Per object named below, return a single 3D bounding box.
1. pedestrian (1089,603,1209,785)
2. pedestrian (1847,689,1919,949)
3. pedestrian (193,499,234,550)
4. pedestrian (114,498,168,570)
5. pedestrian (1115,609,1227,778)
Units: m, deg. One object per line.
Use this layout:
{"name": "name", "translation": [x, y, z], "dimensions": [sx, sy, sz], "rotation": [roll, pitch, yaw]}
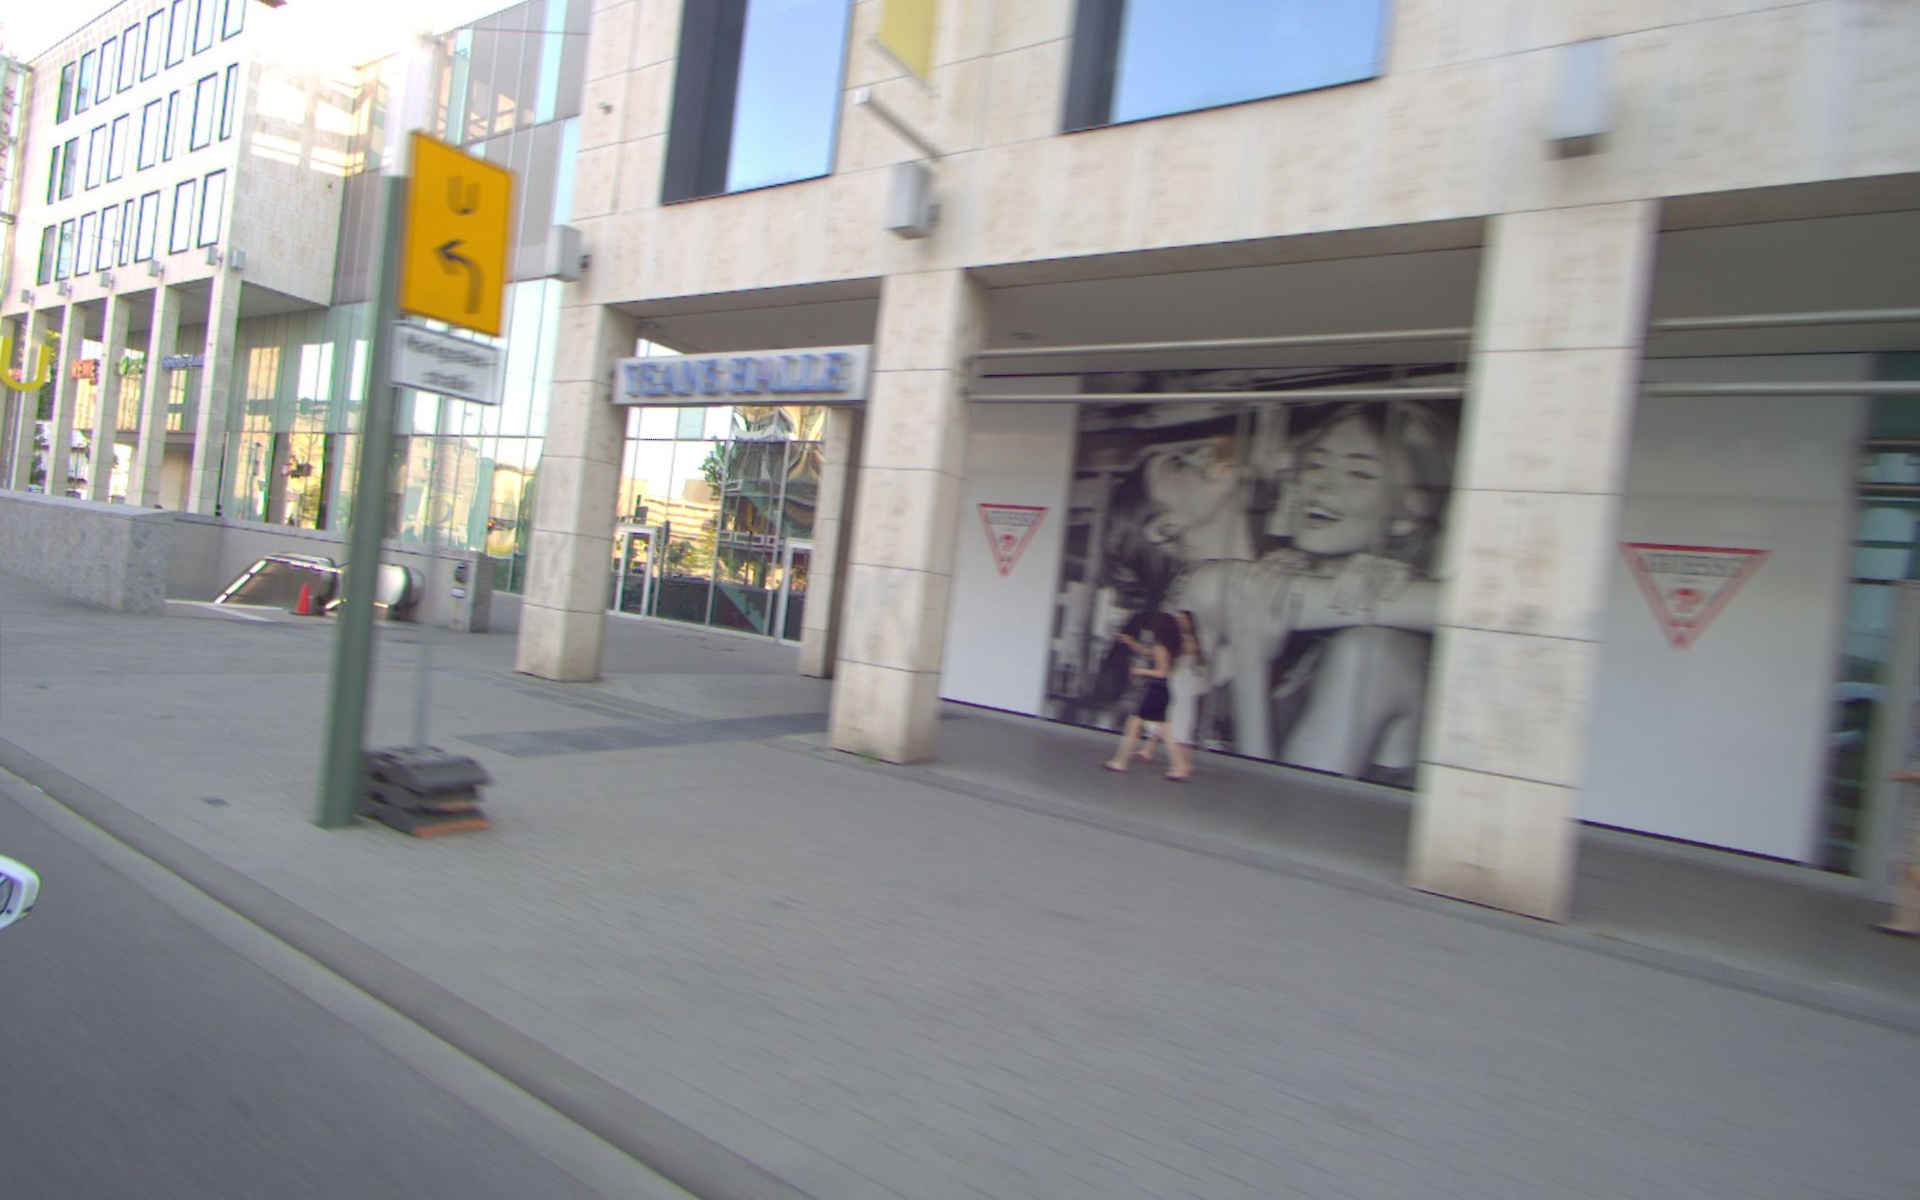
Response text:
{"name": "pedestrian", "translation": [1.784, 0.872, 9.465], "dimensions": [0.717, 1.561, 0.725], "rotation": [7, 0, 33]}
{"name": "pedestrian", "translation": [6.329, 1.416, 6.387], "dimensions": [0.762, 1.587, 0.634], "rotation": [9, 2, 32]}
{"name": "pedestrian", "translation": [-28.732, -2.915, 38.707], "dimensions": [0.974, 1.800, 0.861], "rotation": [7, 2, 32]}
{"name": "pedestrian", "translation": [-21.782, -1.757, 26.756], "dimensions": [0.808, 1.756, 0.834], "rotation": [7, 0, 41]}
{"name": "pedestrian", "translation": [2.126, 0.929, 10.137], "dimensions": [0.762, 1.561, 0.634], "rotation": [7, 0, 32]}
